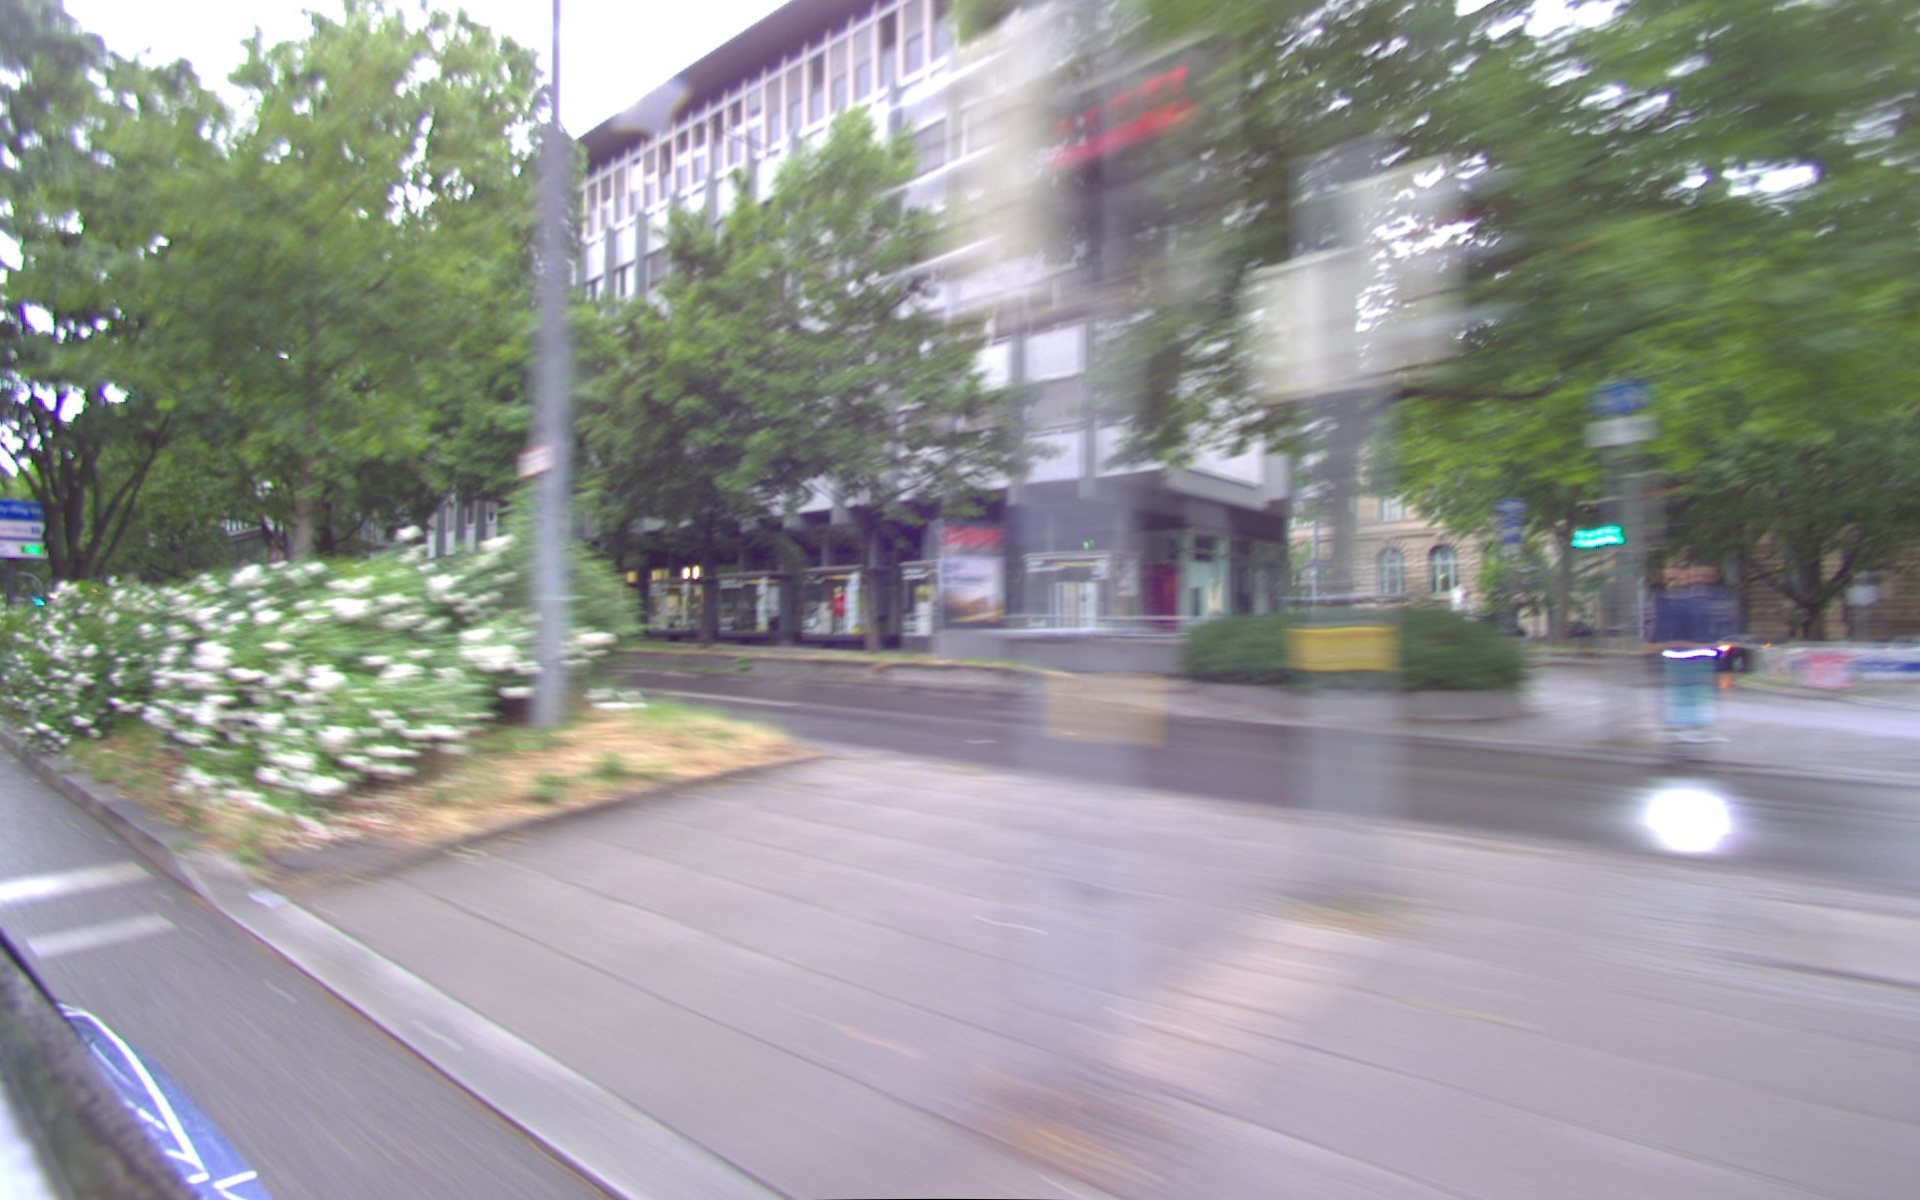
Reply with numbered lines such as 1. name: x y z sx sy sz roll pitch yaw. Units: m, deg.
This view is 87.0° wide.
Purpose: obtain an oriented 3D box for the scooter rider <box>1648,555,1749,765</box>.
1. scooter rider: 7.328 0.569 10.034 0.756 1.955 0.891 -1 -1 38

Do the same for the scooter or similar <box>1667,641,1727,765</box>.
1. scooter or similar: 7.341 0.985 10.063 0.434 1.122 1.170 -1 -1 38
